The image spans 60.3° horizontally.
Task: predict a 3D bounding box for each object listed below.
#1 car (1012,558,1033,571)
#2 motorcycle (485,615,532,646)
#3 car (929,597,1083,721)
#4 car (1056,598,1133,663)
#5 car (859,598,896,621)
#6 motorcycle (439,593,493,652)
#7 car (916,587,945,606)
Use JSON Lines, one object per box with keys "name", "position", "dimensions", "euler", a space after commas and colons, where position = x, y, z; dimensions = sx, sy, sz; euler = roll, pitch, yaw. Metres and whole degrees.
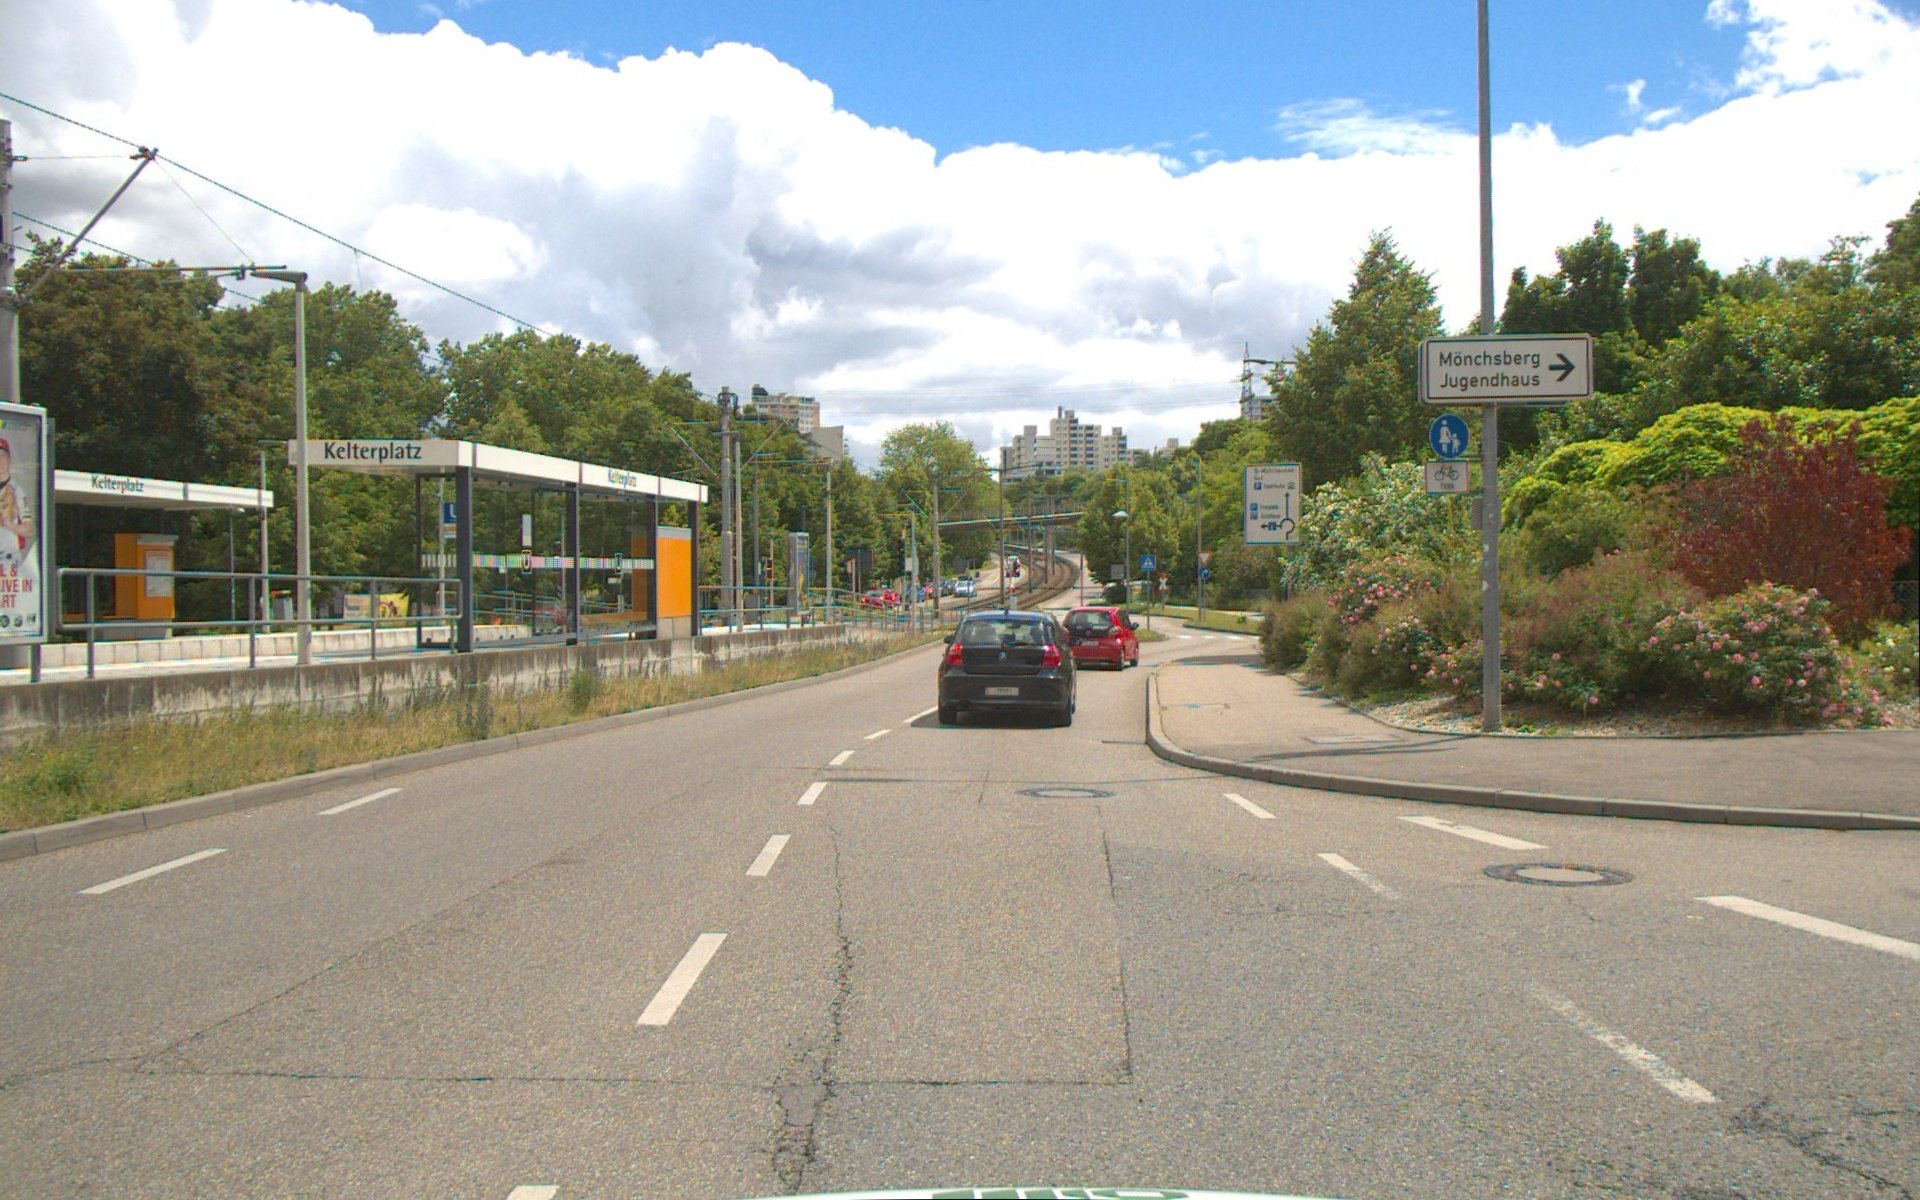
{"name": "car", "position": [8.259, -4.653, 218.824], "dimensions": [1.951, 1.625, 4.423], "euler": [-1, 0, 12]}
{"name": "motorcycle", "position": [-16.951, 1.127, 62.162], "dimensions": [0.714, 1.100, 2.217], "euler": [-1, 0, 14]}
{"name": "car", "position": [0.694, 0.742, 21.916], "dimensions": [1.777, 1.446, 4.002], "euler": [-1, -1, 5]}
{"name": "car", "position": [3.197, 0.709, 39.730], "dimensions": [1.728, 1.457, 3.480], "euler": [-1, 0, 4]}
{"name": "car", "position": [-5.727, 0.630, 114.947], "dimensions": [1.683, 1.529, 2.969], "euler": [0, 1, 16]}
{"name": "motorcycle", "position": [-17.581, 0.776, 58.896], "dimensions": [0.816, 2.049, 1.983], "euler": [-1, 0, 21]}
{"name": "car", "position": [-2.653, -0.319, 149.057], "dimensions": [1.871, 1.588, 4.004], "euler": [-1, 1, 10]}
